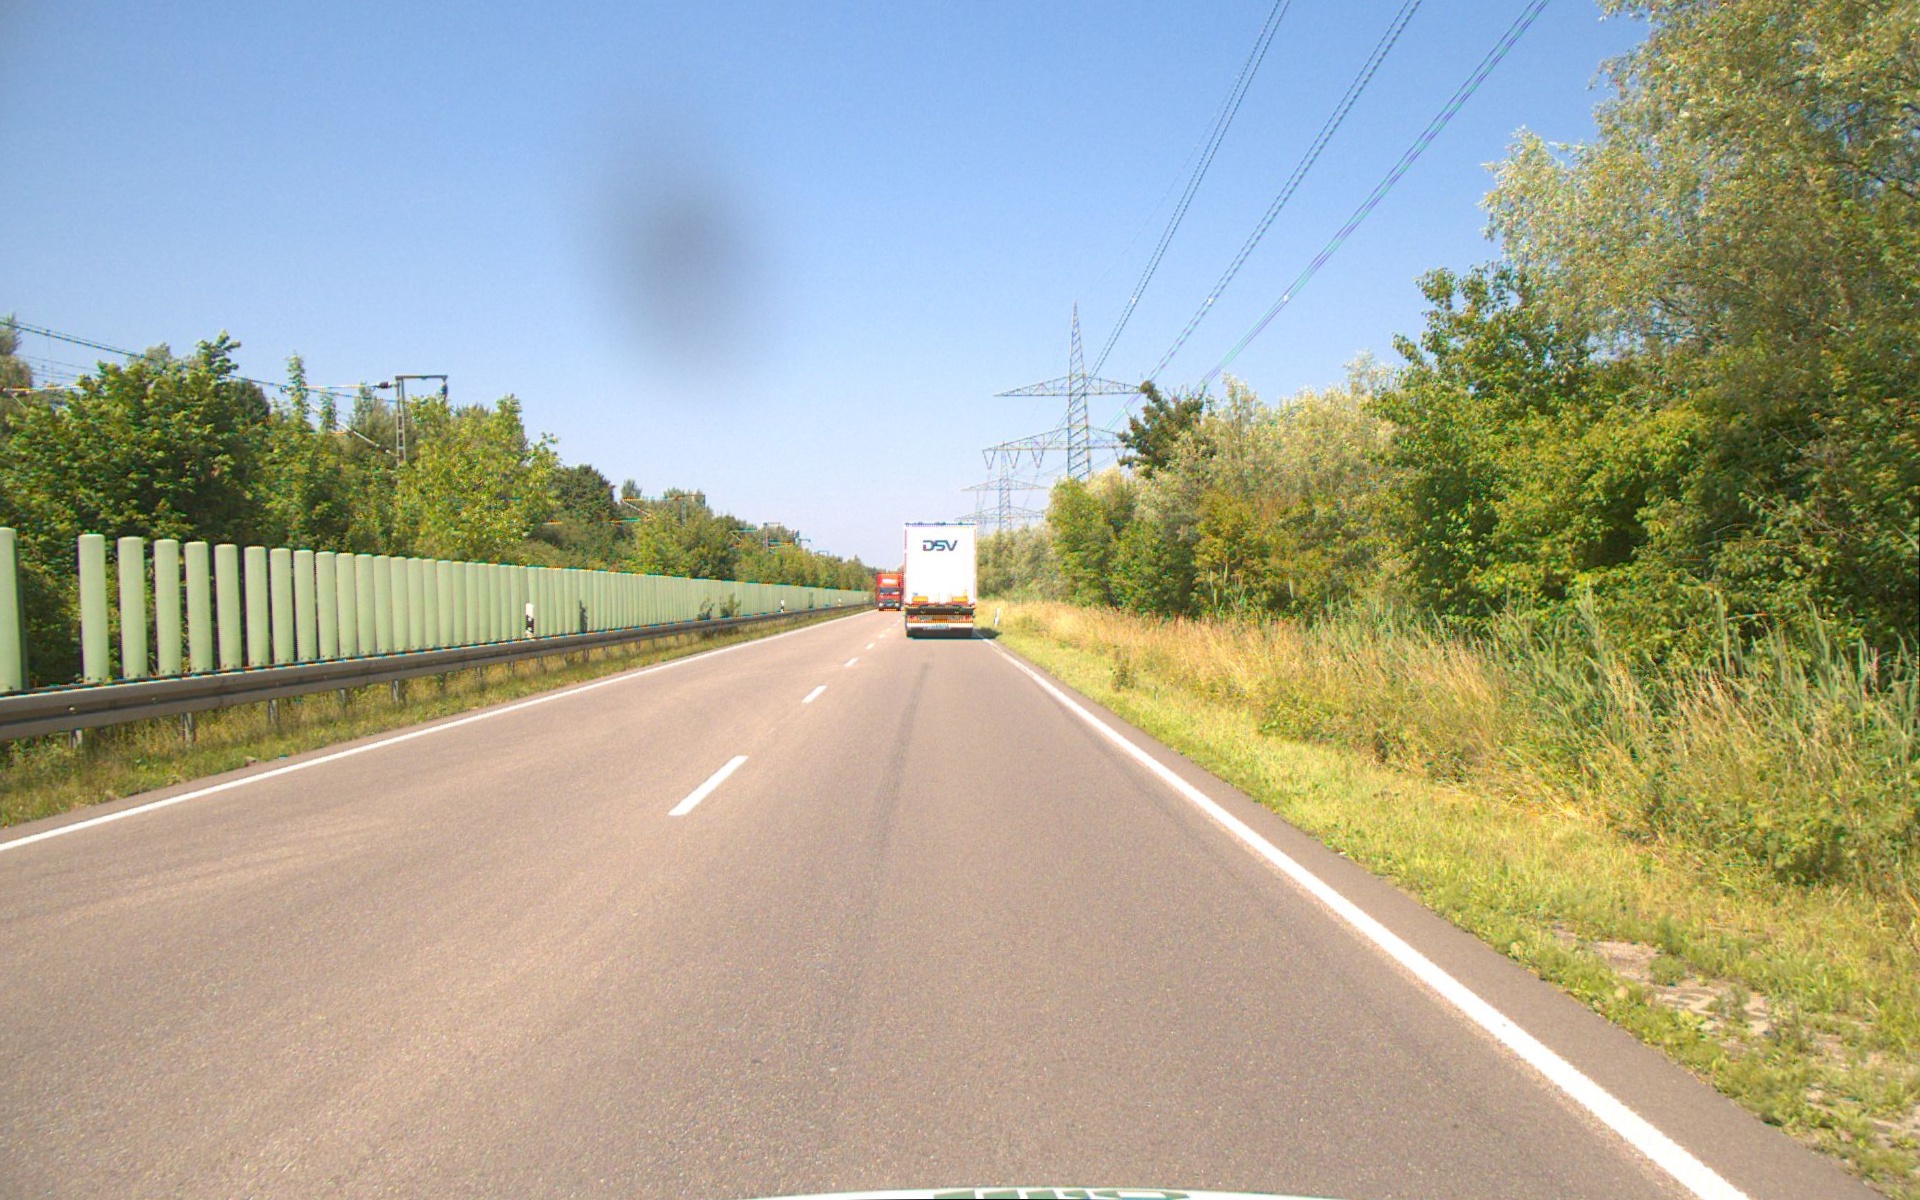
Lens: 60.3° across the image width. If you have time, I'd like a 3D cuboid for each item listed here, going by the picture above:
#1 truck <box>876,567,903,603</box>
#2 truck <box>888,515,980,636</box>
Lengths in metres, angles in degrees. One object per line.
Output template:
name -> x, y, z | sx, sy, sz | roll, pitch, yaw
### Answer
truck -> -7.247, -1.510, 170.688 | 2.679, 3.662, 9.523 | 0, 0, -2
truck -> -1.054, -0.859, 62.588 | 3.128, 4.113, 12.002 | 0, 0, -2
